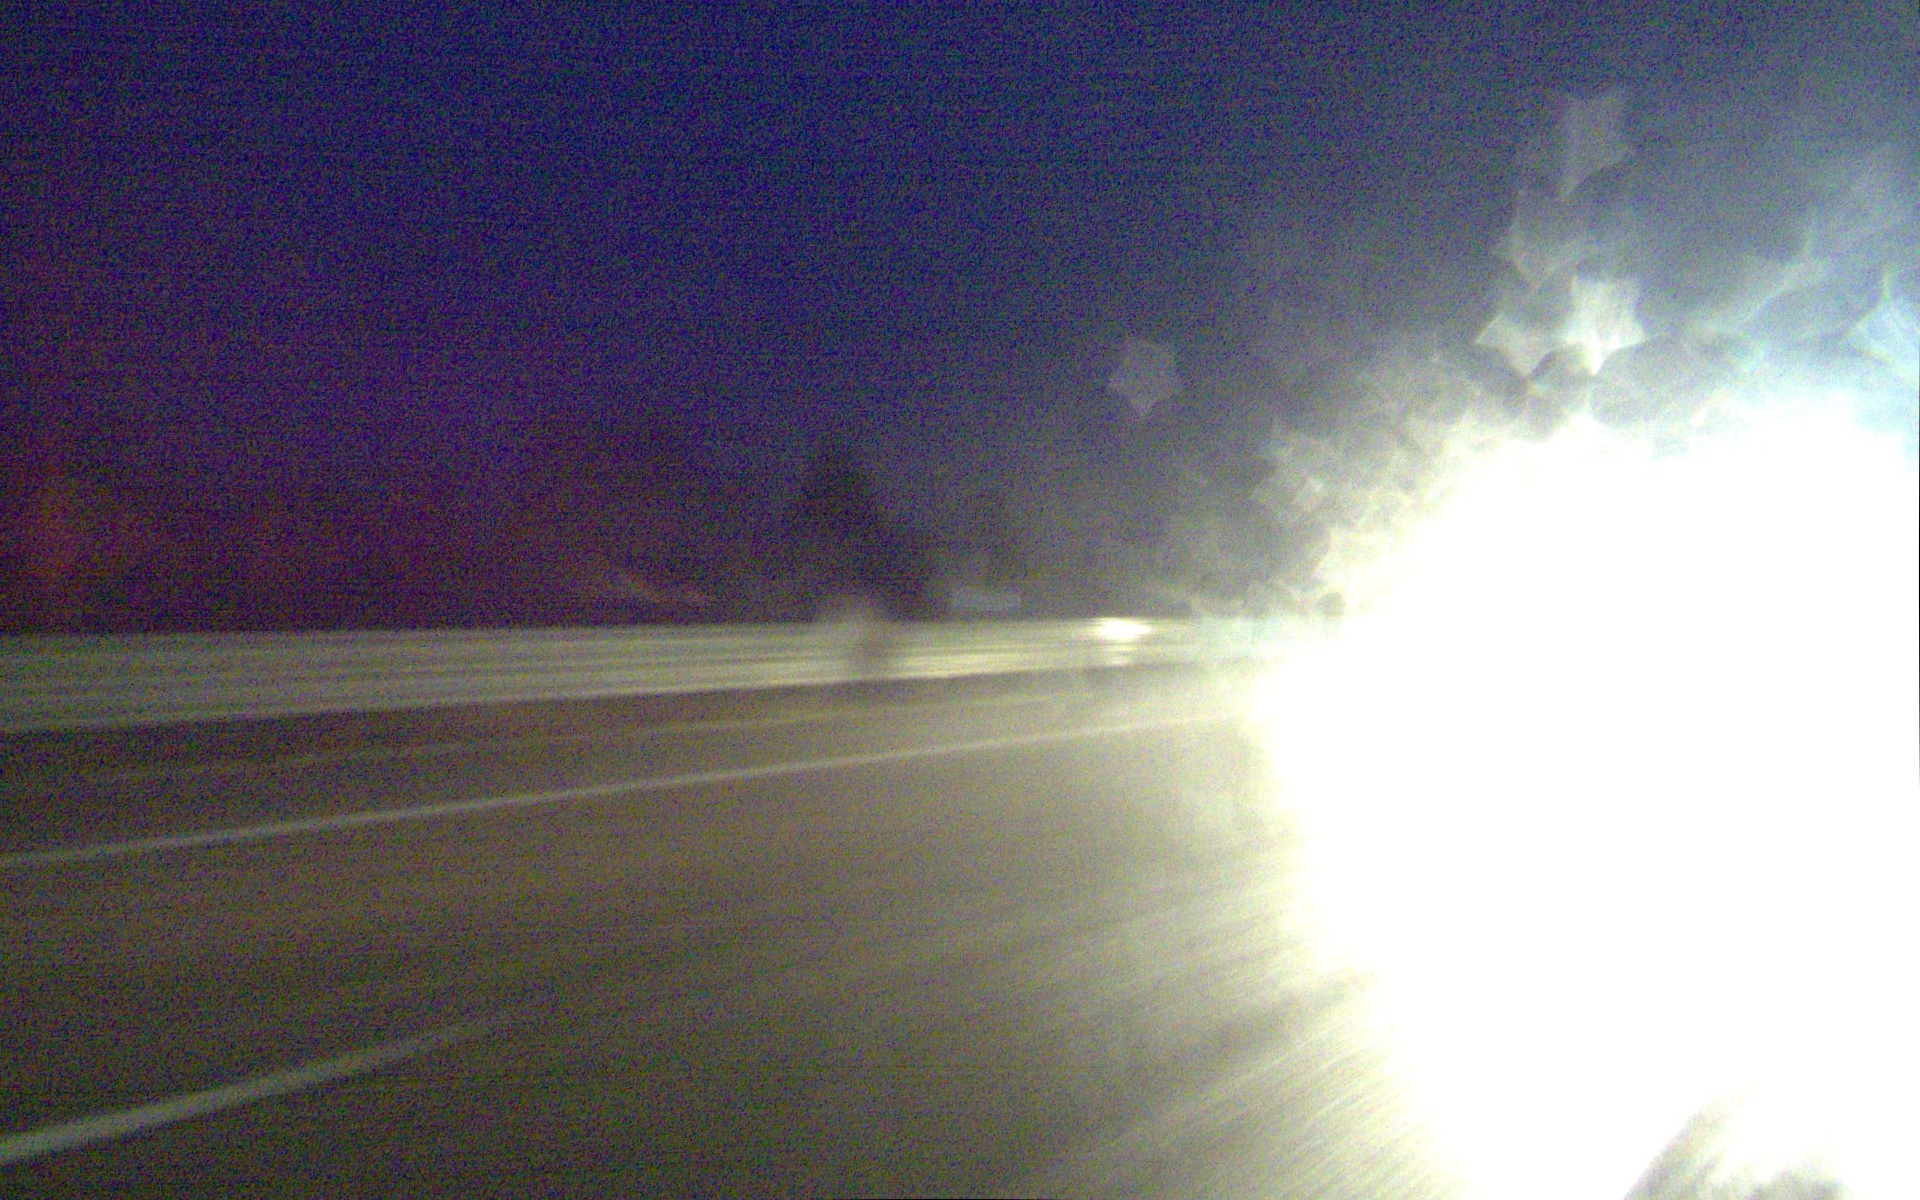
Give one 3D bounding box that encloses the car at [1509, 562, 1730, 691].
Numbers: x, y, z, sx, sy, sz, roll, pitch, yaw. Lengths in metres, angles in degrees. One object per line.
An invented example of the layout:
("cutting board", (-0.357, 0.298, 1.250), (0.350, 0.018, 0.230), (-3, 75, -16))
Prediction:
("car", (11.057, 0.404, 16.842), (4.615, 1.870, 1.830), (1, -1, -40))
